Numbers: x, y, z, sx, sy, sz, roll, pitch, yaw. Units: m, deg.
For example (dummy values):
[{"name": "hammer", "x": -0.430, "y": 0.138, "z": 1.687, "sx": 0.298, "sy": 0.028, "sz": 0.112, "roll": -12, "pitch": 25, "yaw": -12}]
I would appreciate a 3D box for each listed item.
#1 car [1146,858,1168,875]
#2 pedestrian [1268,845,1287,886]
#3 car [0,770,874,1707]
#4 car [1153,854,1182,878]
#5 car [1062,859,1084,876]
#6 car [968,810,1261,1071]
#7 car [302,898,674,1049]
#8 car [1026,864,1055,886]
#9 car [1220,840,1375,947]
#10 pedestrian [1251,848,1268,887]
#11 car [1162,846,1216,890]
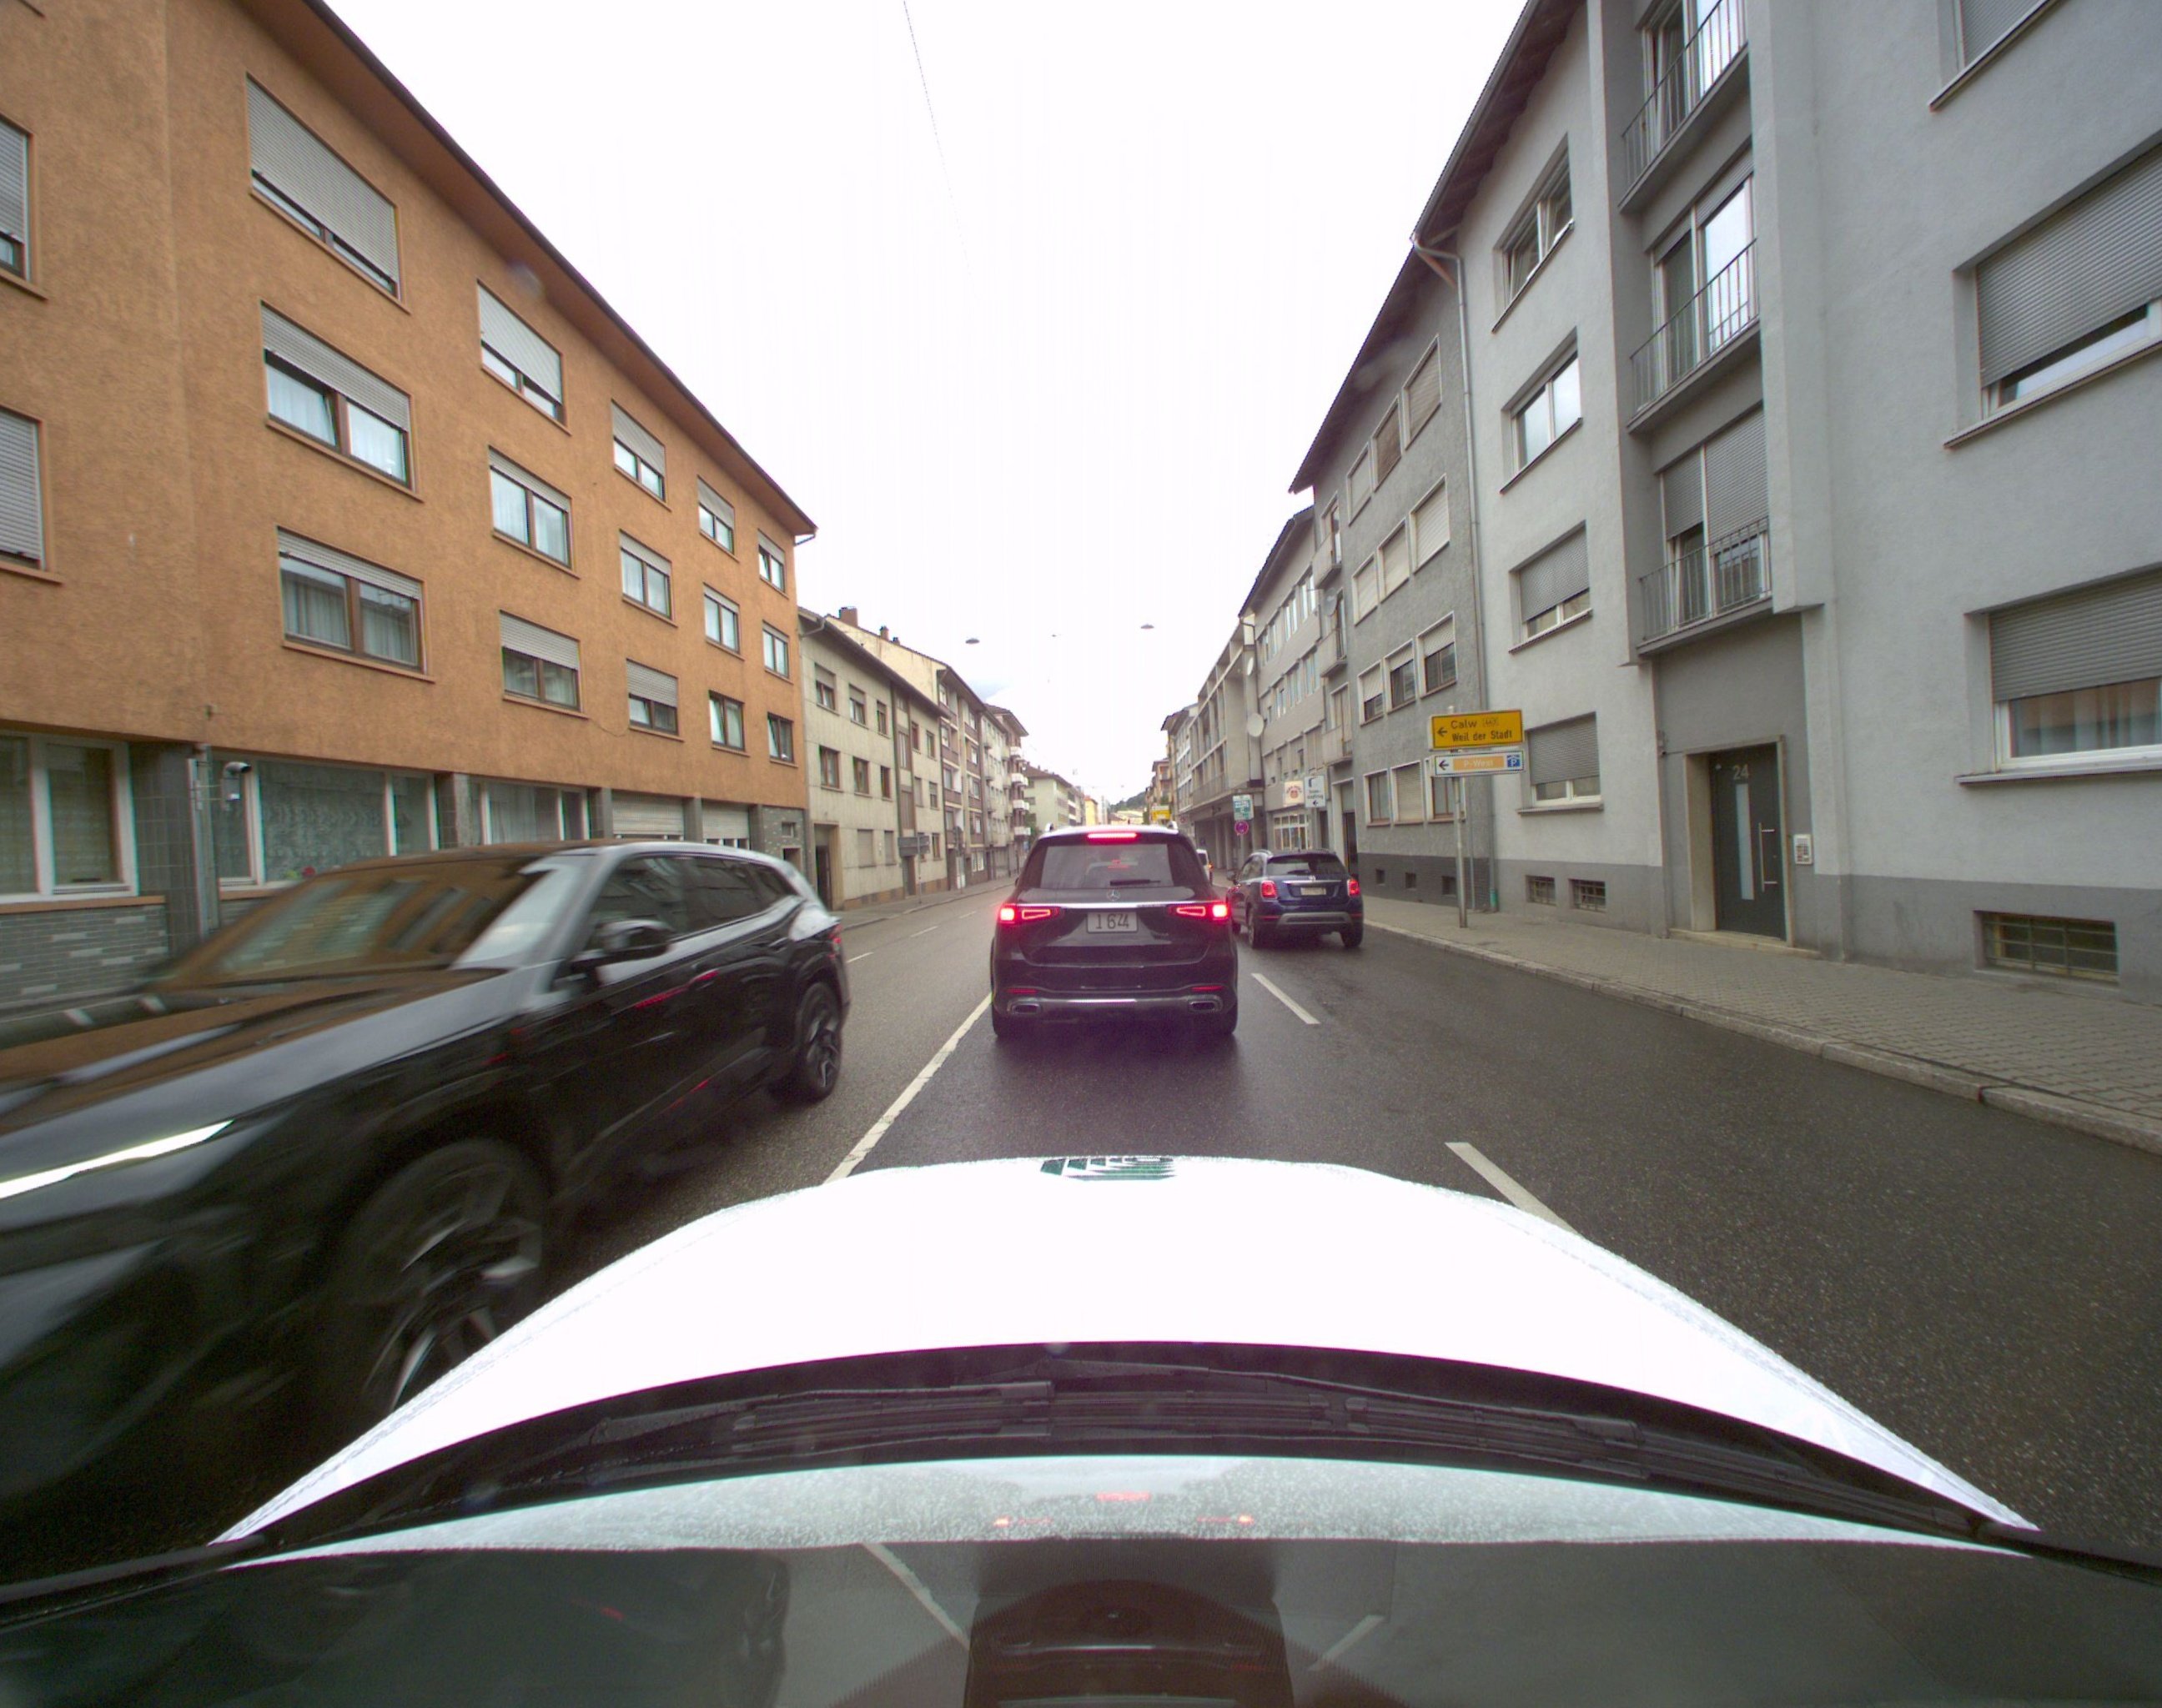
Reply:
[{"name": "car", "x": 6.499, "y": 1.044, "z": 69.838, "sx": 1.615, "sy": 1.430, "sz": 4.313, "roll": 0, "pitch": 0, "yaw": 1}, {"name": "pedestrian", "x": 7.895, "y": 0.461, "z": 32.744, "sx": 0.557, "sy": 1.578, "sz": 0.527, "roll": -5, "pitch": 0, "yaw": 6}, {"name": "car", "x": -2.743, "y": 0.807, "z": 3.746, "sx": 2.119, "sy": 1.721, "sz": 4.819, "roll": -5, "pitch": 0, "yaw": 1}, {"name": "car", "x": 5.965, "y": 0.814, "z": 56.367, "sx": 1.800, "sy": 1.606, "sz": 4.216, "roll": -1, "pitch": 0, "yaw": 4}, {"name": "car", "x": -0.692, "y": 1.184, "z": 75.312, "sx": 1.718, "sy": 1.390, "sz": 4.341, "roll": -4, "pitch": 0, "yaw": 2}, {"name": "car", "x": 0.278, "y": 0.603, "z": 7.649, "sx": 2.018, "sy": 1.806, "sz": 4.001, "roll": 0, "pitch": 0, "yaw": 1}, {"name": "car", "x": -7.741, "y": 1.450, "z": 11.338, "sx": 1.789, "sy": 1.438, "sz": 4.528, "roll": 0, "pitch": 0, "yaw": 1}, {"name": "car", "x": -2.928, "y": 1.495, "z": 59.380, "sx": 1.761, "sy": 1.346, "sz": 3.889, "roll": -6, "pitch": 0, "yaw": 1}, {"name": "car", "x": 3.652, "y": 0.609, "z": 14.450, "sx": 1.760, "sy": 1.580, "sz": 4.002, "roll": -2, "pitch": 0, "yaw": 2}, {"name": "pedestrian", "x": 7.181, "y": 0.542, "z": 32.837, "sx": 0.503, "sy": 1.500, "sz": 0.564, "roll": -5, "pitch": 0, "yaw": 10}, {"name": "car", "x": 4.703, "y": 0.586, "z": 36.139, "sx": 1.933, "sy": 1.775, "sz": 4.749, "roll": -1, "pitch": 0, "yaw": 2}]
